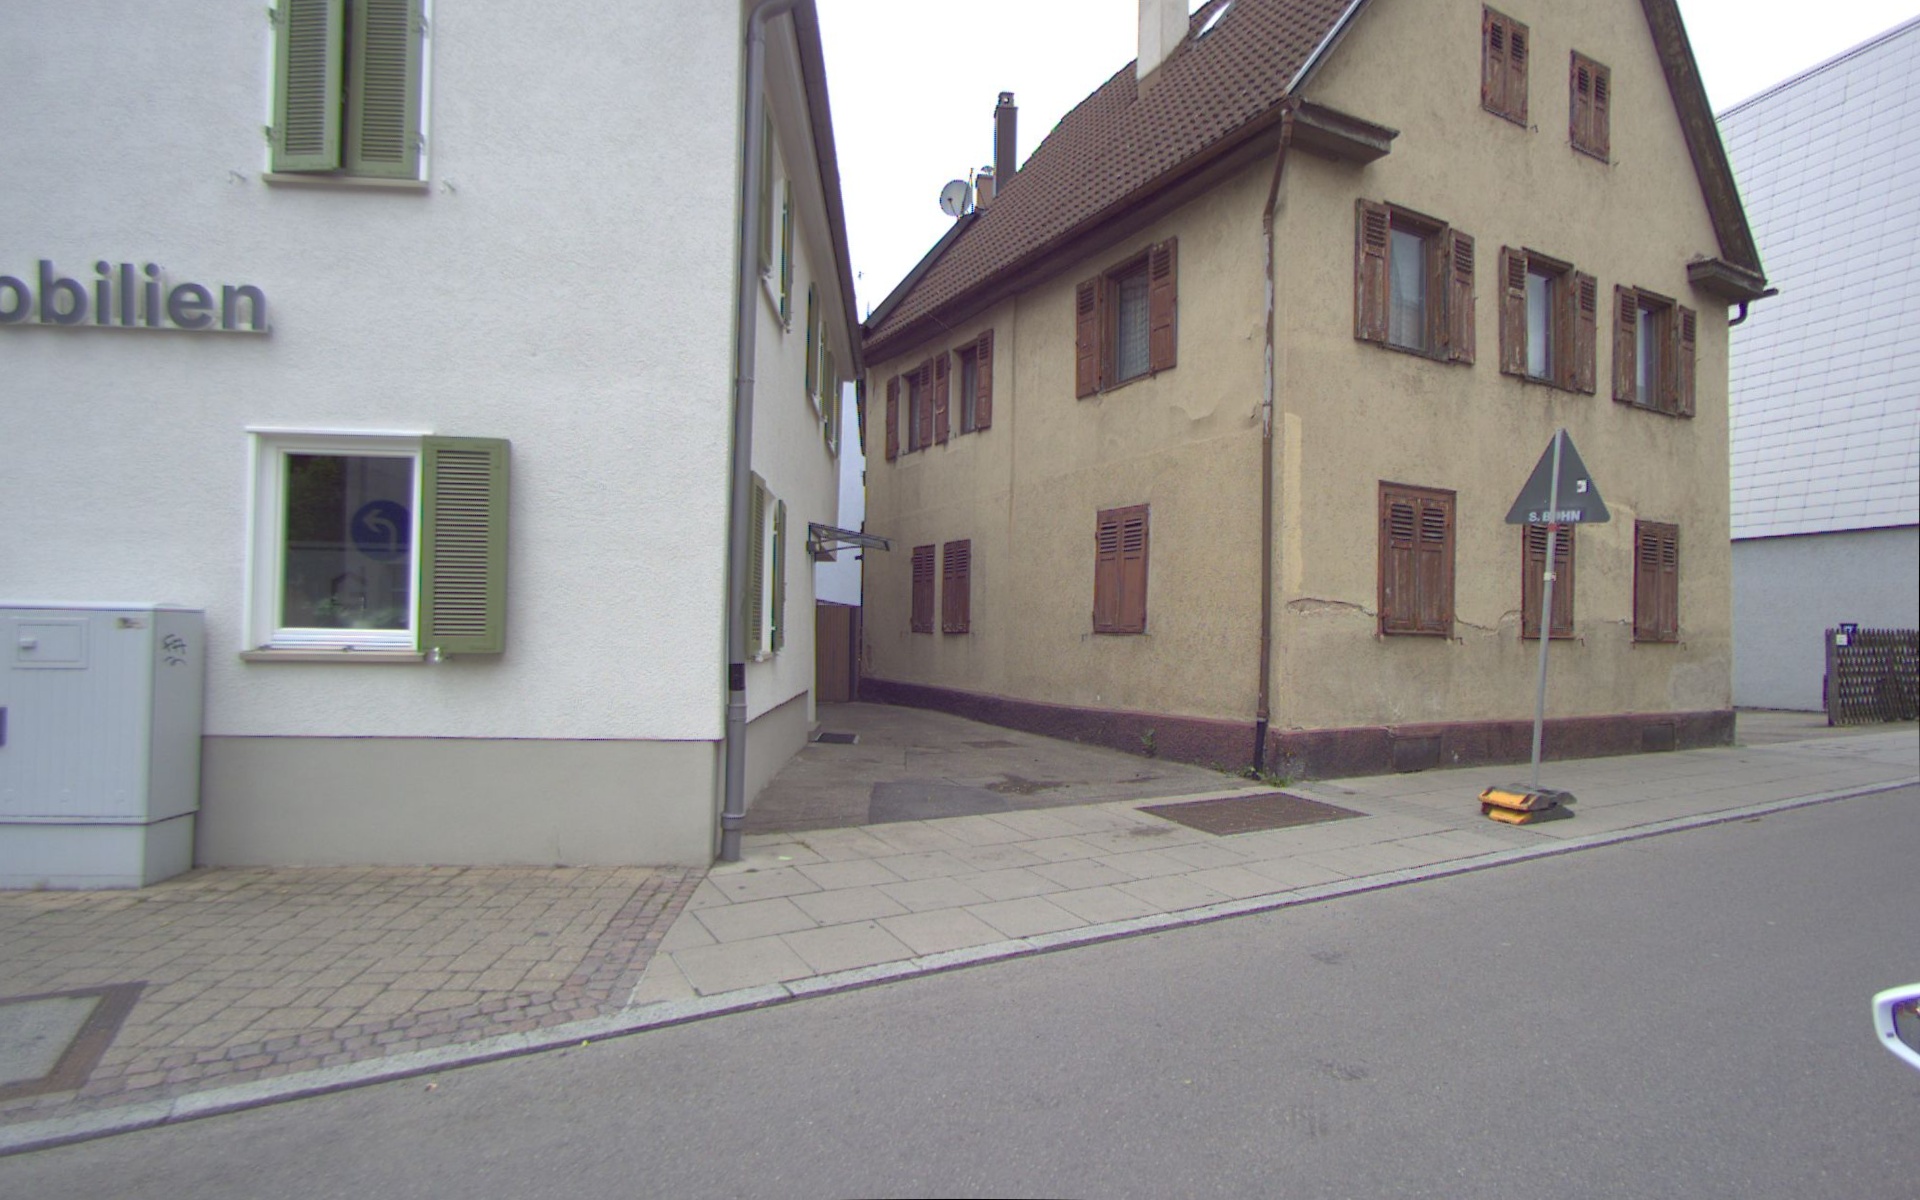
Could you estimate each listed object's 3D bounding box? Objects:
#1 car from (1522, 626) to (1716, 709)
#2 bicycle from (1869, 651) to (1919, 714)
[{"bbox_3d":[13.995,1.352,21.281,4.244,1.584,1.981,1,-2,-34],"label":"car"},{"bbox_3d":[16.738,1.443,17.772,1.725,1.067,0.322,1,-1,-25],"label":"bicycle"}]
